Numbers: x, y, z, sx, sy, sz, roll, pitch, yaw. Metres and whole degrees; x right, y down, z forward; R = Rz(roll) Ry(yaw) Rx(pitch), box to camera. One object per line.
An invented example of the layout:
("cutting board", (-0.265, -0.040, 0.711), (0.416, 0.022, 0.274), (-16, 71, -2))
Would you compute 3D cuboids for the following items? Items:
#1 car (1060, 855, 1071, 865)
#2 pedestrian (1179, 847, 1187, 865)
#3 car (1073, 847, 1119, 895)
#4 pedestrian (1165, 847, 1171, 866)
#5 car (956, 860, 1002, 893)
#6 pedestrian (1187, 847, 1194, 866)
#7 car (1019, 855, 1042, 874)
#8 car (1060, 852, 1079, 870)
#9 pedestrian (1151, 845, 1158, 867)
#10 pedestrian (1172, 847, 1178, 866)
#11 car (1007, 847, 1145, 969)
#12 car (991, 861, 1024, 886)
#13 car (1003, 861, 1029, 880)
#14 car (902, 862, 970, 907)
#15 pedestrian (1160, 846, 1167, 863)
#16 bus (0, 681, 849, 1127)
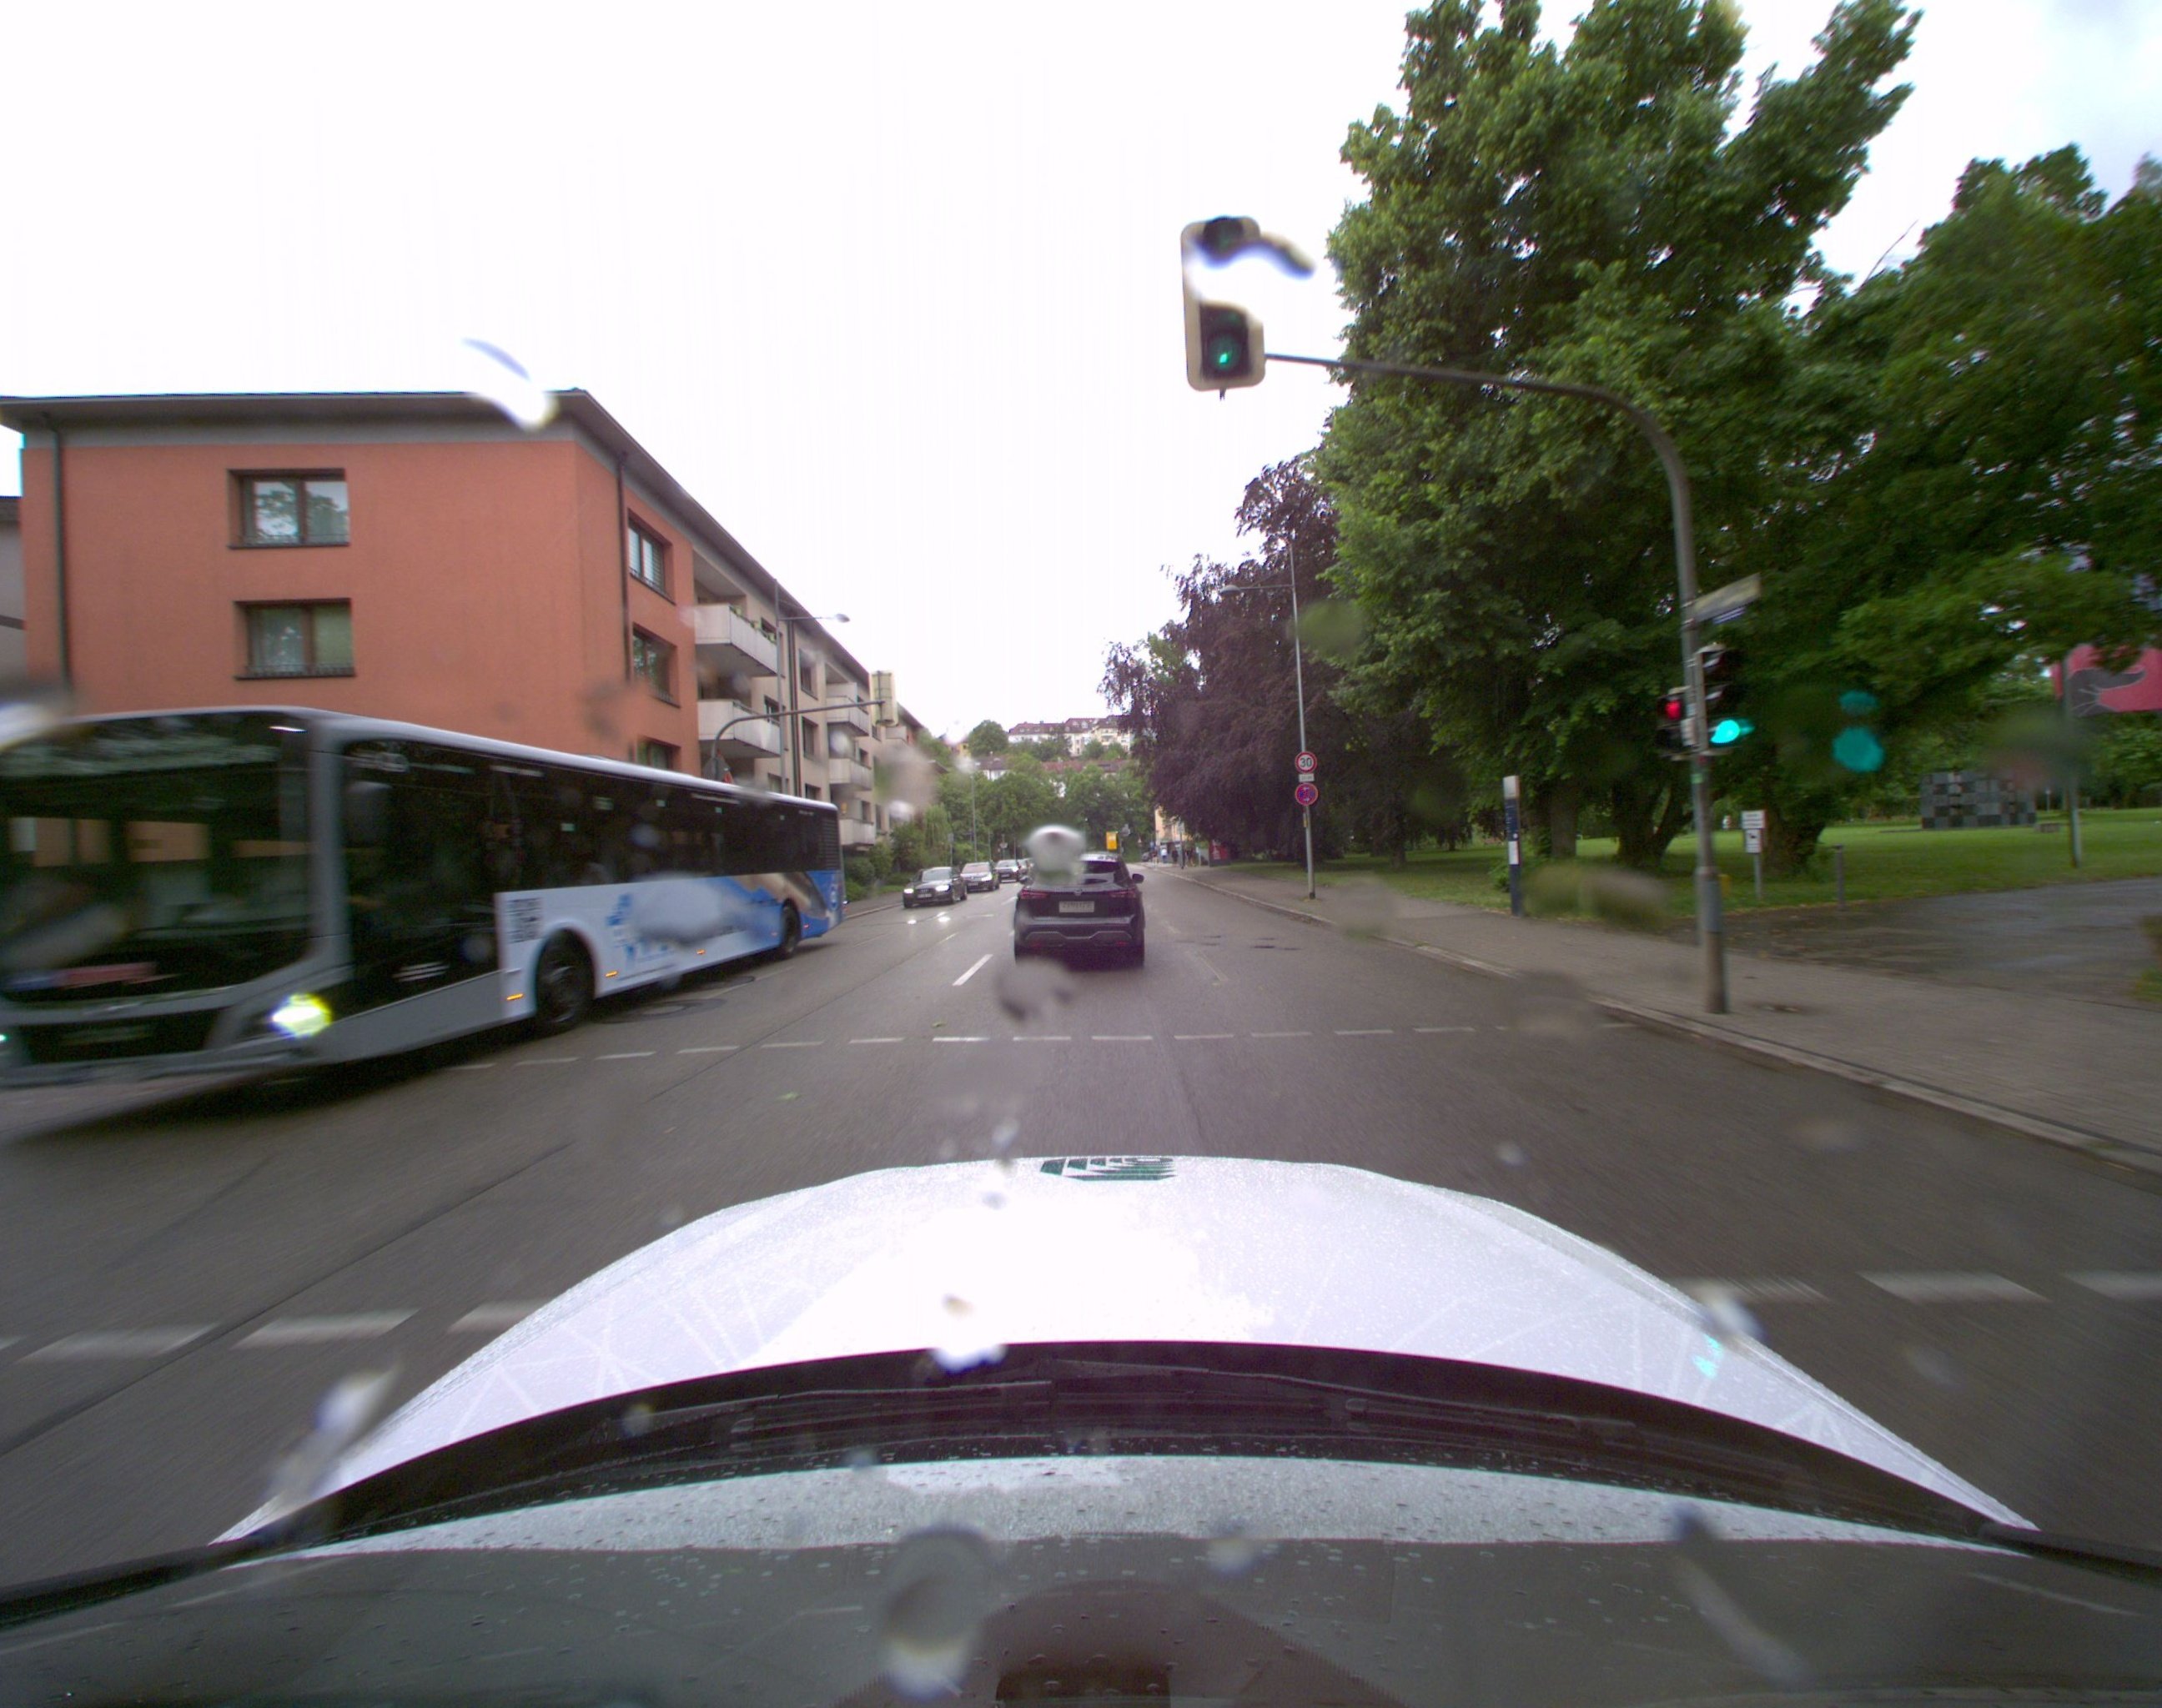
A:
("car", (-2.468, 0.915, 129.256), (1.713, 1.468, 3.684), (-4, 0, -1))
("pedestrian", (9.039, 0.188, 72.183), (0.695, 1.651, 0.629), (-1, -1, 7))
("car", (0.662, 0.655, 32.987), (1.615, 1.709, 3.773), (-4, 0, 3))
("pedestrian", (7.682, 0.200, 71.977), (0.473, 1.651, 0.491), (-1, -1, 7))
("car", (-5.157, 1.090, 41.591), (1.742, 1.469, 4.216), (-4, 0, 0))
("pedestrian", (9.546, 0.235, 70.926), (0.513, 1.655, 0.550), (-1, -1, 1))
("car", (-4.641, 0.947, 75.181), (1.744, 1.633, 3.636), (-4, 0, 1))
("car", (-1.223, 0.722, 88.205), (1.757, 1.758, 3.636), (-4, 0, 1))
("pedestrian", (7.504, 0.192, 83.221), (0.765, 2.184, 0.712), (-1, -1, 4))
("pedestrian", (8.320, 0.195, 72.143), (0.541, 1.651, 0.491), (-1, -1, 7))
("car", (-0.029, 0.738, 12.748), (1.800, 1.590, 4.000), (-1, -1, 1))
("car", (-4.885, 1.263, 54.587), (1.671, 1.469, 4.216), (-4, 0, 0))
("car", (-5.086, 1.244, 63.970), (1.671, 1.296, 3.751), (-4, 0, 0))
("car", (-5.556, 1.139, 31.706), (1.770, 1.469, 4.216), (-4, 0, 0))
("pedestrian", (9.200, 0.044, 90.798), (0.616, 1.779, 0.778), (-4, 0, 1))
("bus", (-6.540, 0.400, 11.541), (2.757, 2.974, 11.783), (-3, -1, 1))
